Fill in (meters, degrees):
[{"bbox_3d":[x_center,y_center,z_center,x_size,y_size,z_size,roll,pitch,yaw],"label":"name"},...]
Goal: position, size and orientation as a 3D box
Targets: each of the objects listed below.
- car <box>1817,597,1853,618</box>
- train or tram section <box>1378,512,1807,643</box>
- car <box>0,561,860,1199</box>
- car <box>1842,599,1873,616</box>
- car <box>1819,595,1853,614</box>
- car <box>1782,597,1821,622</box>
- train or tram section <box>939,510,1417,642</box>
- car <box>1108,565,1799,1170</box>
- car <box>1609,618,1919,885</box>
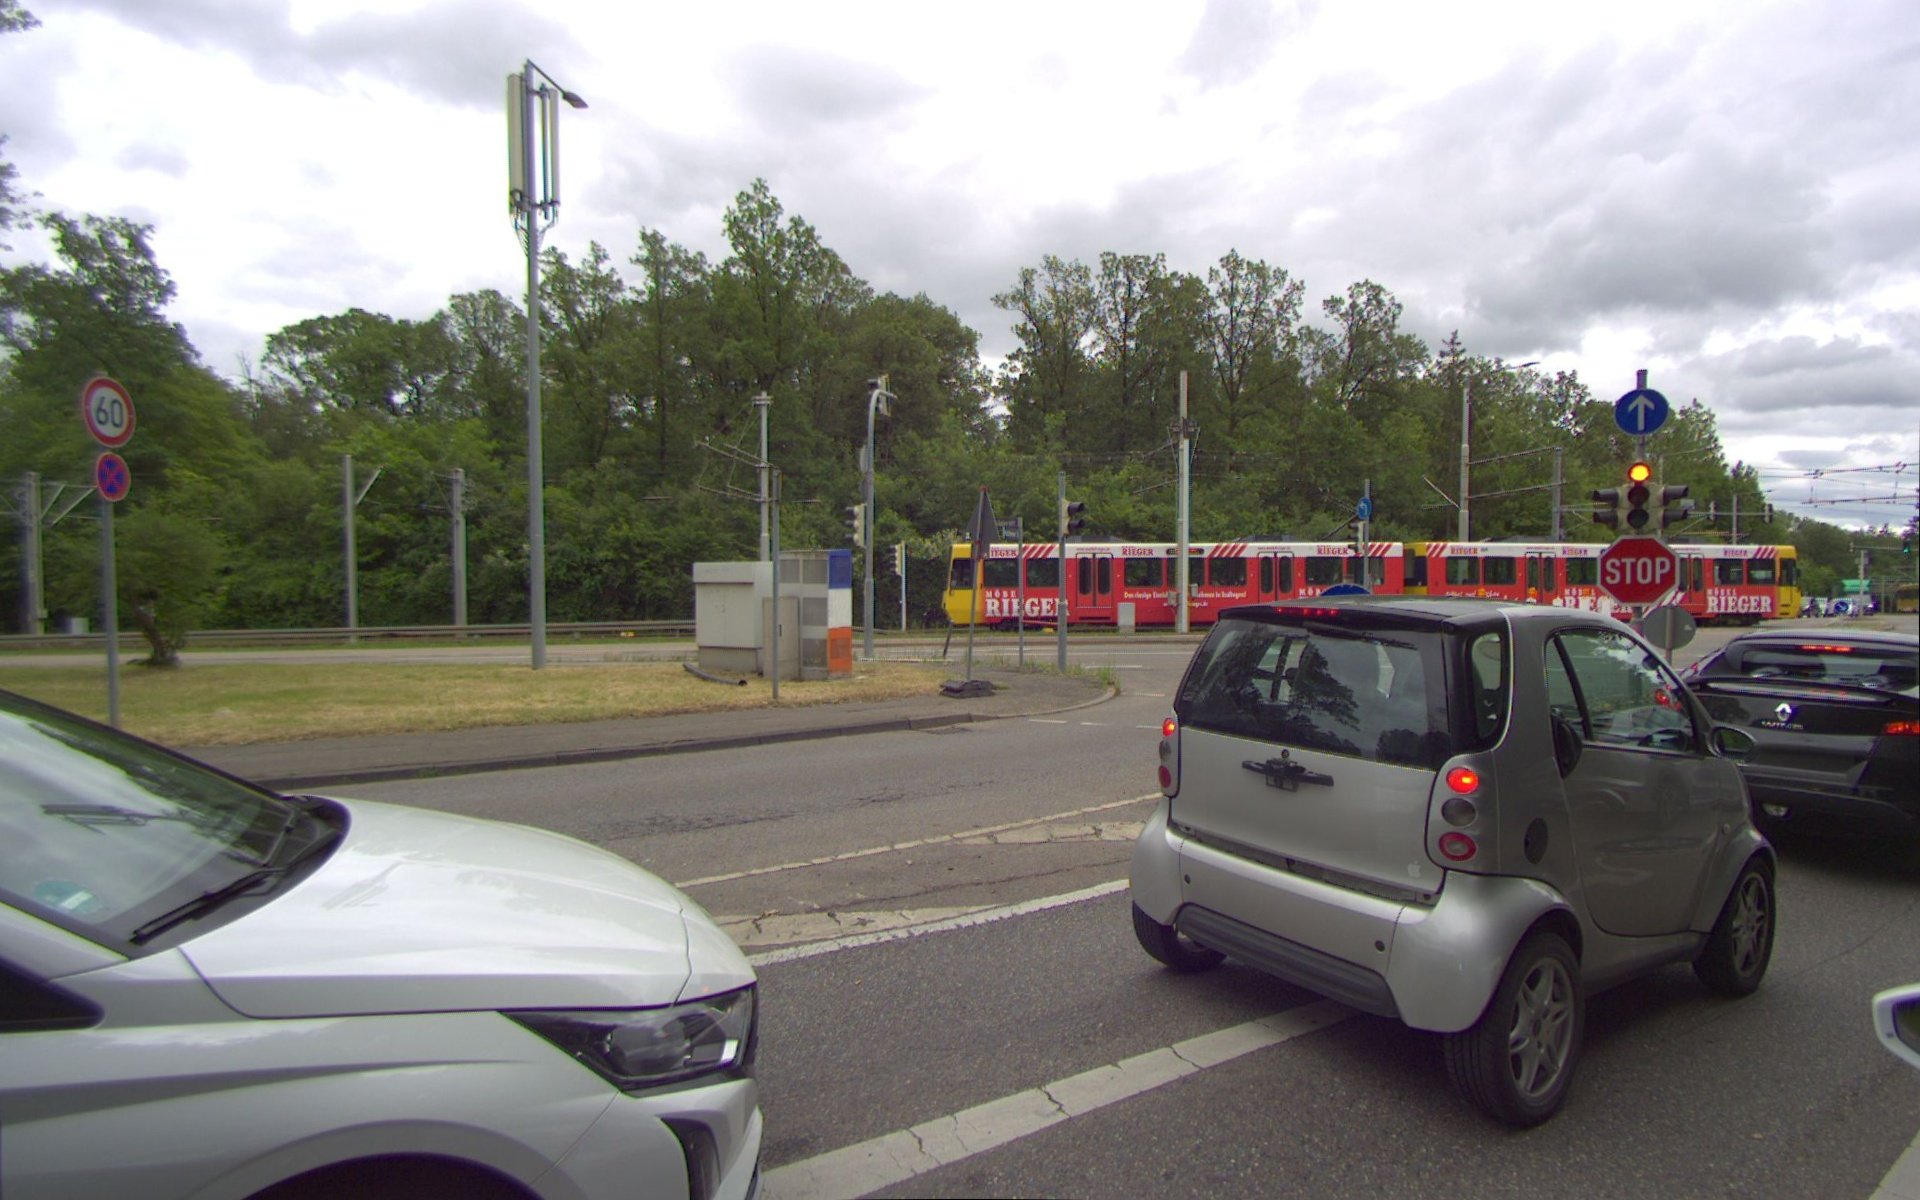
[{"bbox_3d":[70.986,0.618,81.502,1.942,1.628,4.283,1,1,45],"label":"car"},{"bbox_3d":[26.779,-0.792,42.396,18.218,4.712,2.950,2,0,-11],"label":"train or tram section"},{"bbox_3d":[-2.327,0.702,1.611,4.022,1.499,1.643,0,0,-28],"label":"car"},{"bbox_3d":[84.722,0.714,94.819,1.942,1.561,4.283,1,1,45],"label":"car"},{"bbox_3d":[74.735,0.345,85.685,1.942,1.562,4.368,1,1,45],"label":"car"},{"bbox_3d":[65.176,0.712,77.766,1.942,1.869,4.660,1,1,45],"label":"car"},{"bbox_3d":[8.421,-0.899,39.982,18.367,4.477,2.964,2,0,-3],"label":"train or tram section"},{"bbox_3d":[2.070,0.719,4.062,2.701,1.607,1.447,0,0,-36],"label":"car"},{"bbox_3d":[6.055,0.840,6.929,3.448,1.380,1.759,0,0,-41],"label":"car"}]
